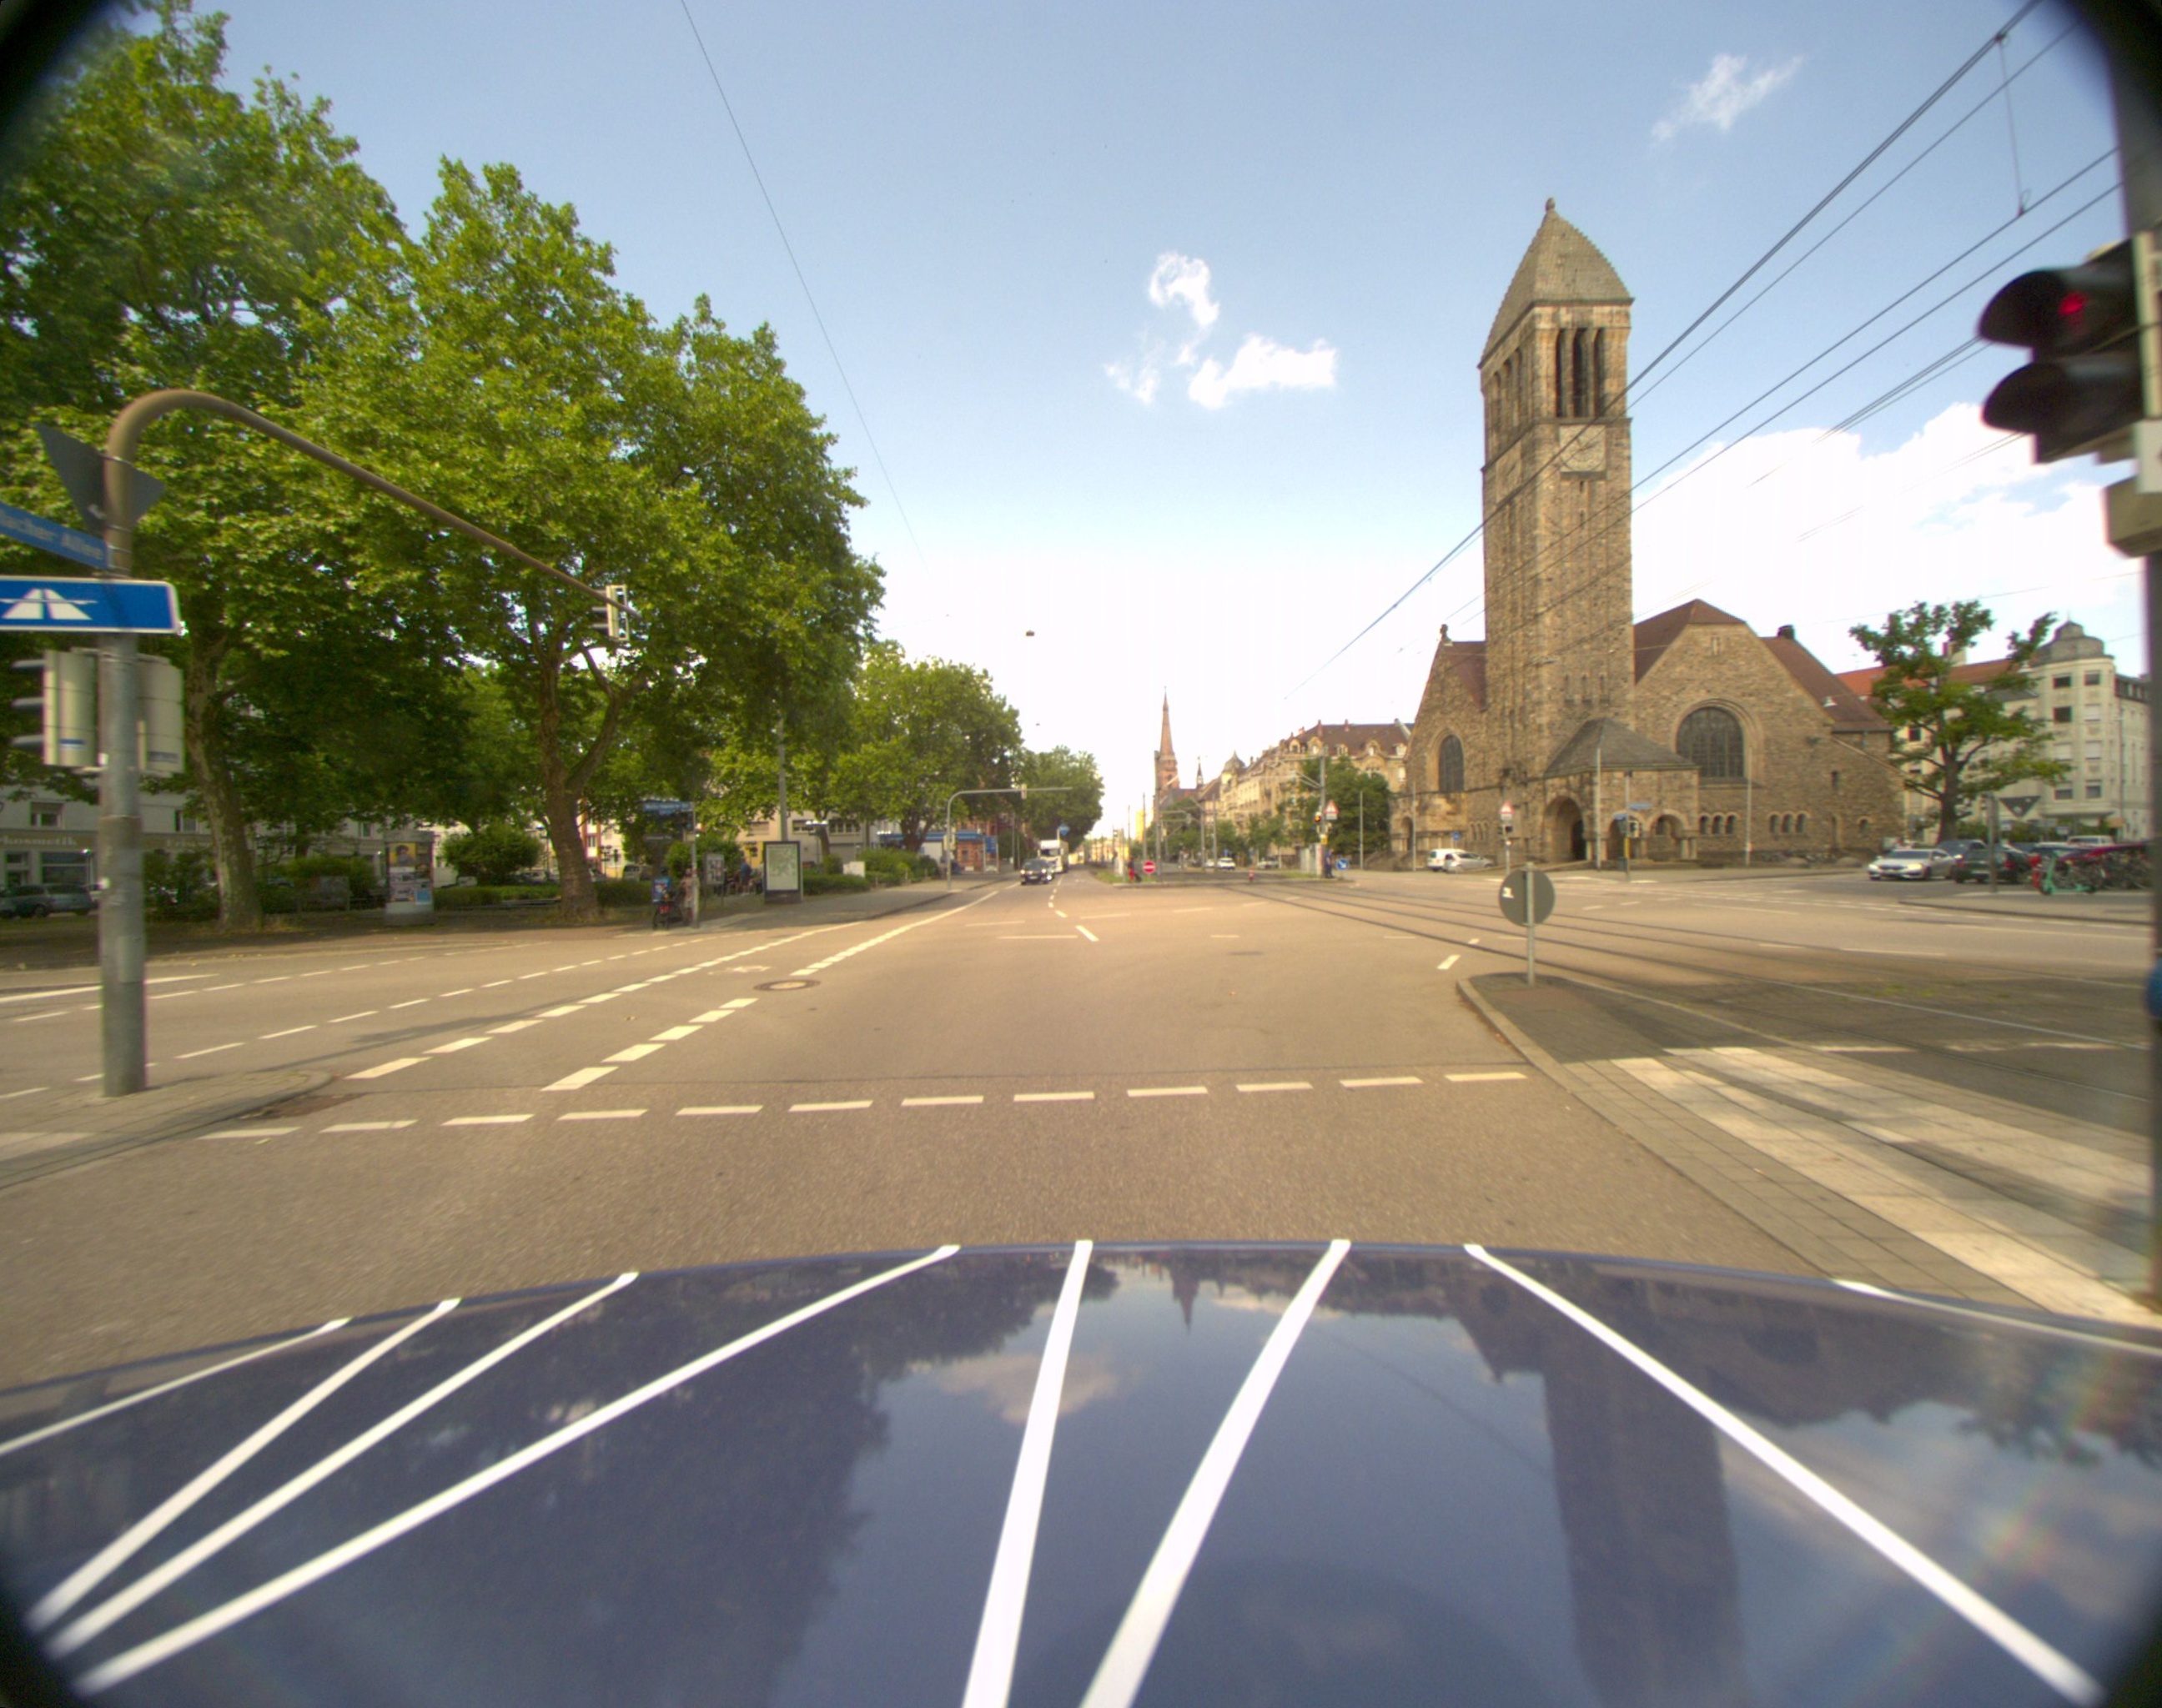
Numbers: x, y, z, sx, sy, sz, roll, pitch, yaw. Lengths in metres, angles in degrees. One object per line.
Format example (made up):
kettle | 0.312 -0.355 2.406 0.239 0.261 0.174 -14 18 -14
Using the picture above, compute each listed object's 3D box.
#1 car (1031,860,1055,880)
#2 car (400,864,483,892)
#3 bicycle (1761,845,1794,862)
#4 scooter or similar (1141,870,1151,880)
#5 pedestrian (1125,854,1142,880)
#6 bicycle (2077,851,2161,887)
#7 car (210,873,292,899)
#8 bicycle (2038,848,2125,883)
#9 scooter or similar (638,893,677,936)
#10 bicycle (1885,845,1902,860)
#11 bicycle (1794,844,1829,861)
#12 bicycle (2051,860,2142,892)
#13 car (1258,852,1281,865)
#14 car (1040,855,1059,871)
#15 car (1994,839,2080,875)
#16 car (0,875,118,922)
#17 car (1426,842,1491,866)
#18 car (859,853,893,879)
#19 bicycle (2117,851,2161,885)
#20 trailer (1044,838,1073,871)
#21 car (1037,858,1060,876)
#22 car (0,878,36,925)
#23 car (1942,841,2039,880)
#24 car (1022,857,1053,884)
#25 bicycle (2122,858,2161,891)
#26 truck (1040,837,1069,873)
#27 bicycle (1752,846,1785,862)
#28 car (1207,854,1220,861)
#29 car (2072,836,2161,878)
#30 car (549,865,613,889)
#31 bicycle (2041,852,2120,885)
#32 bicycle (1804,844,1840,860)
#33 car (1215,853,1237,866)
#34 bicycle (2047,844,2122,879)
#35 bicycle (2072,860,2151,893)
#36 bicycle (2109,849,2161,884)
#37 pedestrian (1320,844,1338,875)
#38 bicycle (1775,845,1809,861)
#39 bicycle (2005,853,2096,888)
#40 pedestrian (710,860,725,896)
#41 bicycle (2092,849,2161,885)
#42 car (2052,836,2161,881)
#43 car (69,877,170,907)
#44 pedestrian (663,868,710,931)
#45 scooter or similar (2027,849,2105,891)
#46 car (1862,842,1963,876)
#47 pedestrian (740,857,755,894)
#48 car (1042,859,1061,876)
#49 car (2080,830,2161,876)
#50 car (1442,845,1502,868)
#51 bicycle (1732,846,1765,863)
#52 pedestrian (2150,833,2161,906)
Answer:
car | -3.046 1.257 61.463 1.733 1.457 4.327 -1 0 0
car | -49.211 1.834 58.533 4.487 1.894 2.104 -2 1 1
bicycle | 51.429 -0.046 56.131 0.586 1.106 1.937 -2 3 -4
scooter or similar | 3.775 1.215 43.903 0.521 0.532 0.310 0 0 -13
pedestrian | 3.011 0.742 43.597 0.776 1.483 0.657 -1 0 -13
bicycle | 30.996 0.457 22.669 0.481 1.045 1.442 -2 -2 -16
car | -59.672 2.286 54.657 3.997 1.627 1.744 -2 1 1
bicycle | 32.072 0.382 24.393 0.481 1.045 1.580 -2 -2 -18
scooter or similar | -11.069 1.568 19.857 0.489 1.050 0.710 -1 1 30
bicycle | 55.779 -0.111 52.154 1.445 1.046 0.479 -1 0 -31
bicycle | 53.978 -0.133 56.188 0.586 1.106 1.937 -2 3 -4
bicycle | 34.632 0.756 25.934 1.809 1.045 0.559 -3 -2 19
car | 23.035 0.608 92.739 1.788 1.486 3.837 -2 0 0
car | -3.479 0.993 84.976 1.853 1.695 4.134 -1 0 1
car | 44.854 0.120 35.644 3.937 1.531 1.749 -2 1 -27
car | -49.307 2.106 36.222 3.998 2.002 1.999 -2 1 -2
car | 30.499 0.003 61.490 4.302 1.842 2.000 0 -1 -1
car | -19.859 1.147 73.650 2.111 2.406 4.000 -2 1 0
bicycle | 33.553 0.432 23.620 0.463 1.045 1.482 -1 -2 -24
trailer | -2.841 0.014 100.041 2.915 4.054 11.651 -2 0 2
car | -2.924 1.150 68.496 1.853 1.438 3.973 -1 1 1
car | -49.951 2.195 33.844 3.997 2.002 2.000 -2 1 1
car | 38.090 0.243 31.811 3.822 1.425 1.715 -2 1 -26
car | -2.989 1.098 53.099 1.853 1.716 4.419 -1 0 1
bicycle | 35.119 0.667 24.566 0.558 1.045 1.629 -1 -2 -26
truck | -3.126 0.073 92.462 2.915 4.125 6.591 -2 1 2
bicycle | 50.713 -0.022 56.096 0.586 1.106 1.937 -2 3 -4
car | 22.577 0.614 129.350 1.654 1.226 3.063 -2 0 0
car | 40.417 0.063 28.247 3.946 1.447 1.735 -4 -3 24
car | -41.045 1.879 62.412 3.997 1.790 1.869 -2 1 1
bicycle | 33.005 0.495 25.115 0.463 1.045 1.482 -1 -2 -25
bicycle | 54.781 -0.160 56.197 0.586 1.106 1.937 -2 3 -4
car | 18.036 0.650 94.772 1.819 1.497 4.131 -2 0 0
bicycle | 32.661 0.256 24.742 0.418 1.045 1.371 -1 -3 -27
bicycle | 34.130 0.750 25.183 0.463 1.045 1.481 -1 -2 -29
bicycle | 32.973 0.377 23.320 0.481 1.045 1.580 -2 -2 -18
pedestrian | 14.059 0.328 43.075 0.772 1.721 0.744 -1 1 -1
bicycle | 52.429 -0.079 56.037 0.586 1.106 1.937 -2 3 -4
bicycle | 31.177 0.547 24.474 0.531 1.045 1.736 -2 -2 -9
pedestrian | -17.715 1.154 37.010 0.607 1.740 0.697 -2 1 -24
bicycle | 32.018 0.409 22.998 0.481 1.045 1.612 -2 -2 -18
car | 37.785 0.117 26.739 3.990 1.448 1.816 -4 -3 27
car | -59.618 2.332 47.164 3.997 1.627 1.744 -2 1 1
pedestrian | -10.660 1.210 20.541 0.569 1.636 0.924 -1 1 30
scooter or similar | 28.342 0.473 21.888 0.481 1.139 1.253 -3 -2 -7
car | 38.229 0.184 34.930 4.391 1.440 1.824 -1 2 -24
pedestrian | -16.188 1.046 36.898 0.607 1.740 0.697 -2 1 -25
car | -2.918 1.269 74.538 1.685 1.554 3.752 -1 0 0
car | 42.777 -0.085 29.762 3.945 1.679 1.806 -4 -3 25
car | 29.863 0.196 58.099 3.636 1.668 1.818 0 -1 -4
bicycle | 49.143 0.032 55.965 0.586 1.106 1.937 -2 3 -4
pedestrian | 24.088 0.301 16.372 0.997 1.584 0.943 -2 -3 -24
